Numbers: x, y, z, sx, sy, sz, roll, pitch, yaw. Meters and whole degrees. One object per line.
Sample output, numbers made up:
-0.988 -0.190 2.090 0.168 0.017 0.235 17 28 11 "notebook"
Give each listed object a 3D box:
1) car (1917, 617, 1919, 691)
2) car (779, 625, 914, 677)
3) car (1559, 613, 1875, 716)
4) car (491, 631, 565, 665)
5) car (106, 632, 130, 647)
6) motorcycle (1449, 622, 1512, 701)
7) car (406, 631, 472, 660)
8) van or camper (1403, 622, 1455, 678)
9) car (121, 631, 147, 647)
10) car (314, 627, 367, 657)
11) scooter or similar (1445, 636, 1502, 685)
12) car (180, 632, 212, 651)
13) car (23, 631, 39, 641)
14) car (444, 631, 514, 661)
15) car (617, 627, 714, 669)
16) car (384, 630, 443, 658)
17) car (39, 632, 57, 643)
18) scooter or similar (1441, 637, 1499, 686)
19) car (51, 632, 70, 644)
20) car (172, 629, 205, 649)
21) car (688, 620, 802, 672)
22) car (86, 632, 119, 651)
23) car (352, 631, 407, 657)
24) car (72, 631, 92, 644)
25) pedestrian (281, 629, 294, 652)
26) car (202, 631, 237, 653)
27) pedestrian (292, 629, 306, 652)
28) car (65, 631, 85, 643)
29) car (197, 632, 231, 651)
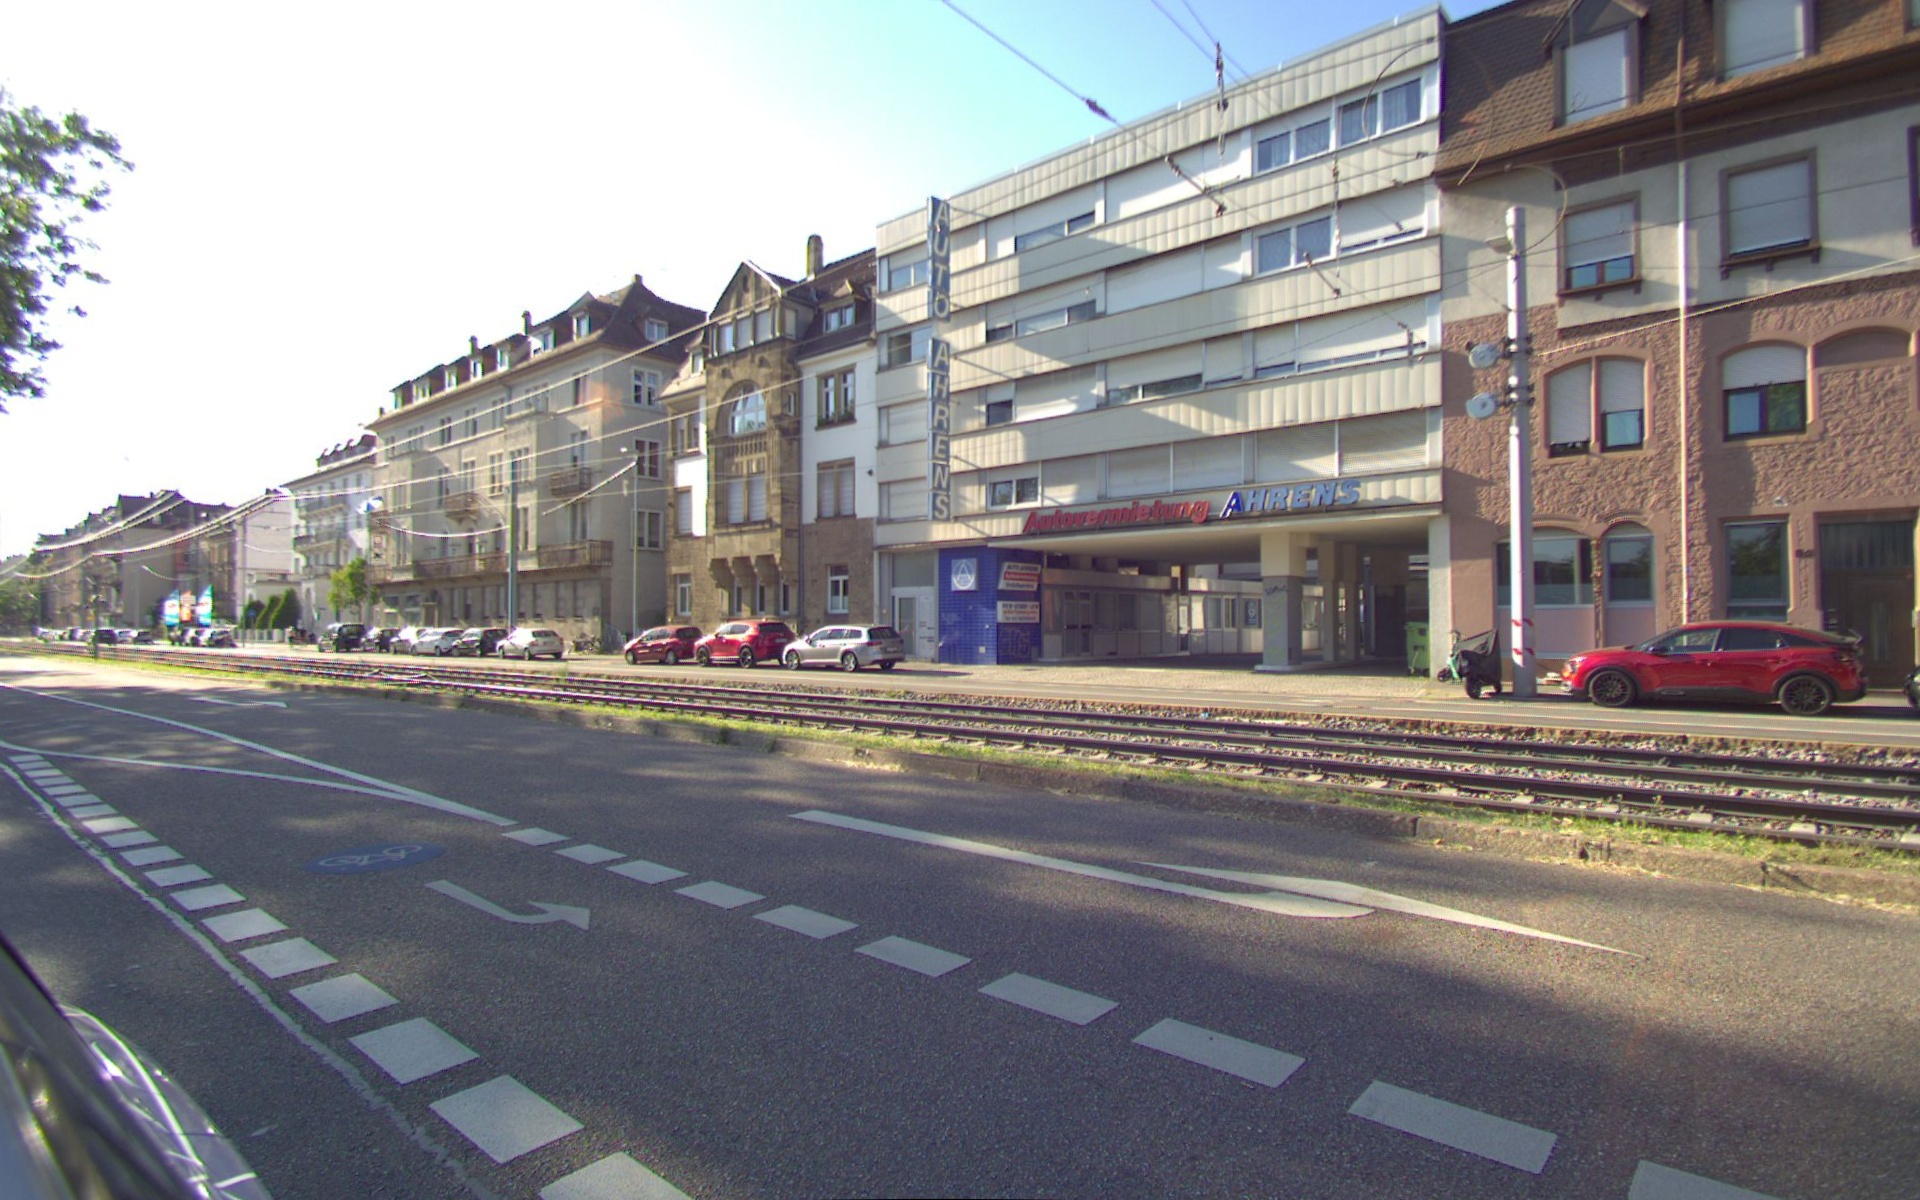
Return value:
16.318 0.975 14.295 3.925 1.448 1.678 -2 1 41 "car"
-3.732 1.604 32.760 4.379 1.510 1.837 -2 -1 41 "car"
13.041 1.056 17.633 4.208 1.510 1.837 -2 1 41 "car"
-20.370 2.220 47.669 3.822 1.490 1.778 -2 -1 42 "car"
-93.597 4.383 112.472 3.449 1.602 1.603 -2 -1 42 "car"
10.371 1.190 20.142 0.628 1.433 1.835 -3 -1 41 "motorcycle"
-27.656 2.407 53.723 3.531 1.457 1.624 -2 -1 35 "car"
11.746 1.235 25.358 0.803 1.368 1.409 -2 -3 41 "van or camper"
-86.691 4.079 106.253 3.449 1.602 1.603 -2 -1 42 "car"
-39.651 2.668 64.753 3.914 1.750 1.851 -2 -1 42 "car"
11.674 1.371 23.020 1.121 1.077 0.202 -2 -1 42 "scooter or similar"
-67.468 3.634 89.348 3.387 1.583 1.662 -2 -1 42 "car"
-152.705 5.947 166.284 3.449 1.602 1.603 -2 -1 42 "car"
-24.379 2.305 51.281 3.820 1.441 1.779 -2 -1 40 "car"
-11.578 1.860 39.757 3.722 1.507 1.736 -2 -1 36 "car"
-31.009 2.455 57.416 3.822 1.490 1.778 -2 -1 42 "car"
-133.144 5.473 147.750 3.449 1.602 1.603 -2 -1 42 "car"
11.490 1.386 22.820 1.121 1.077 0.202 -2 -1 42 "scooter or similar"
-125.170 5.278 140.814 3.449 1.602 1.603 -2 -1 42 "car"
-71.079 3.576 93.208 3.879 1.800 1.705 -2 -1 42 "car"
-7.753 1.632 36.295 4.262 1.700 1.836 -2 -1 43 "car"
-79.243 3.853 93.549 3.999 1.697 1.798 -2 -3 42 "car"
-35.249 2.633 61.454 3.822 1.490 1.778 -2 -1 42 "car"
-115.290 4.889 132.893 3.449 1.602 1.603 -2 -1 42 "car"
-53.121 3.183 79.929 0.677 1.803 0.716 -2 -3 41 "pedestrian"
-60.004 3.399 82.005 3.407 1.644 1.655 -2 -1 42 "car"
-52.477 3.211 80.368 0.677 1.803 0.716 -2 -3 41 "pedestrian"
-119.079 4.991 136.161 3.449 1.602 1.603 -2 -1 42 "car"
-63.395 3.511 85.979 3.387 1.583 1.662 -2 -1 42 "car"
